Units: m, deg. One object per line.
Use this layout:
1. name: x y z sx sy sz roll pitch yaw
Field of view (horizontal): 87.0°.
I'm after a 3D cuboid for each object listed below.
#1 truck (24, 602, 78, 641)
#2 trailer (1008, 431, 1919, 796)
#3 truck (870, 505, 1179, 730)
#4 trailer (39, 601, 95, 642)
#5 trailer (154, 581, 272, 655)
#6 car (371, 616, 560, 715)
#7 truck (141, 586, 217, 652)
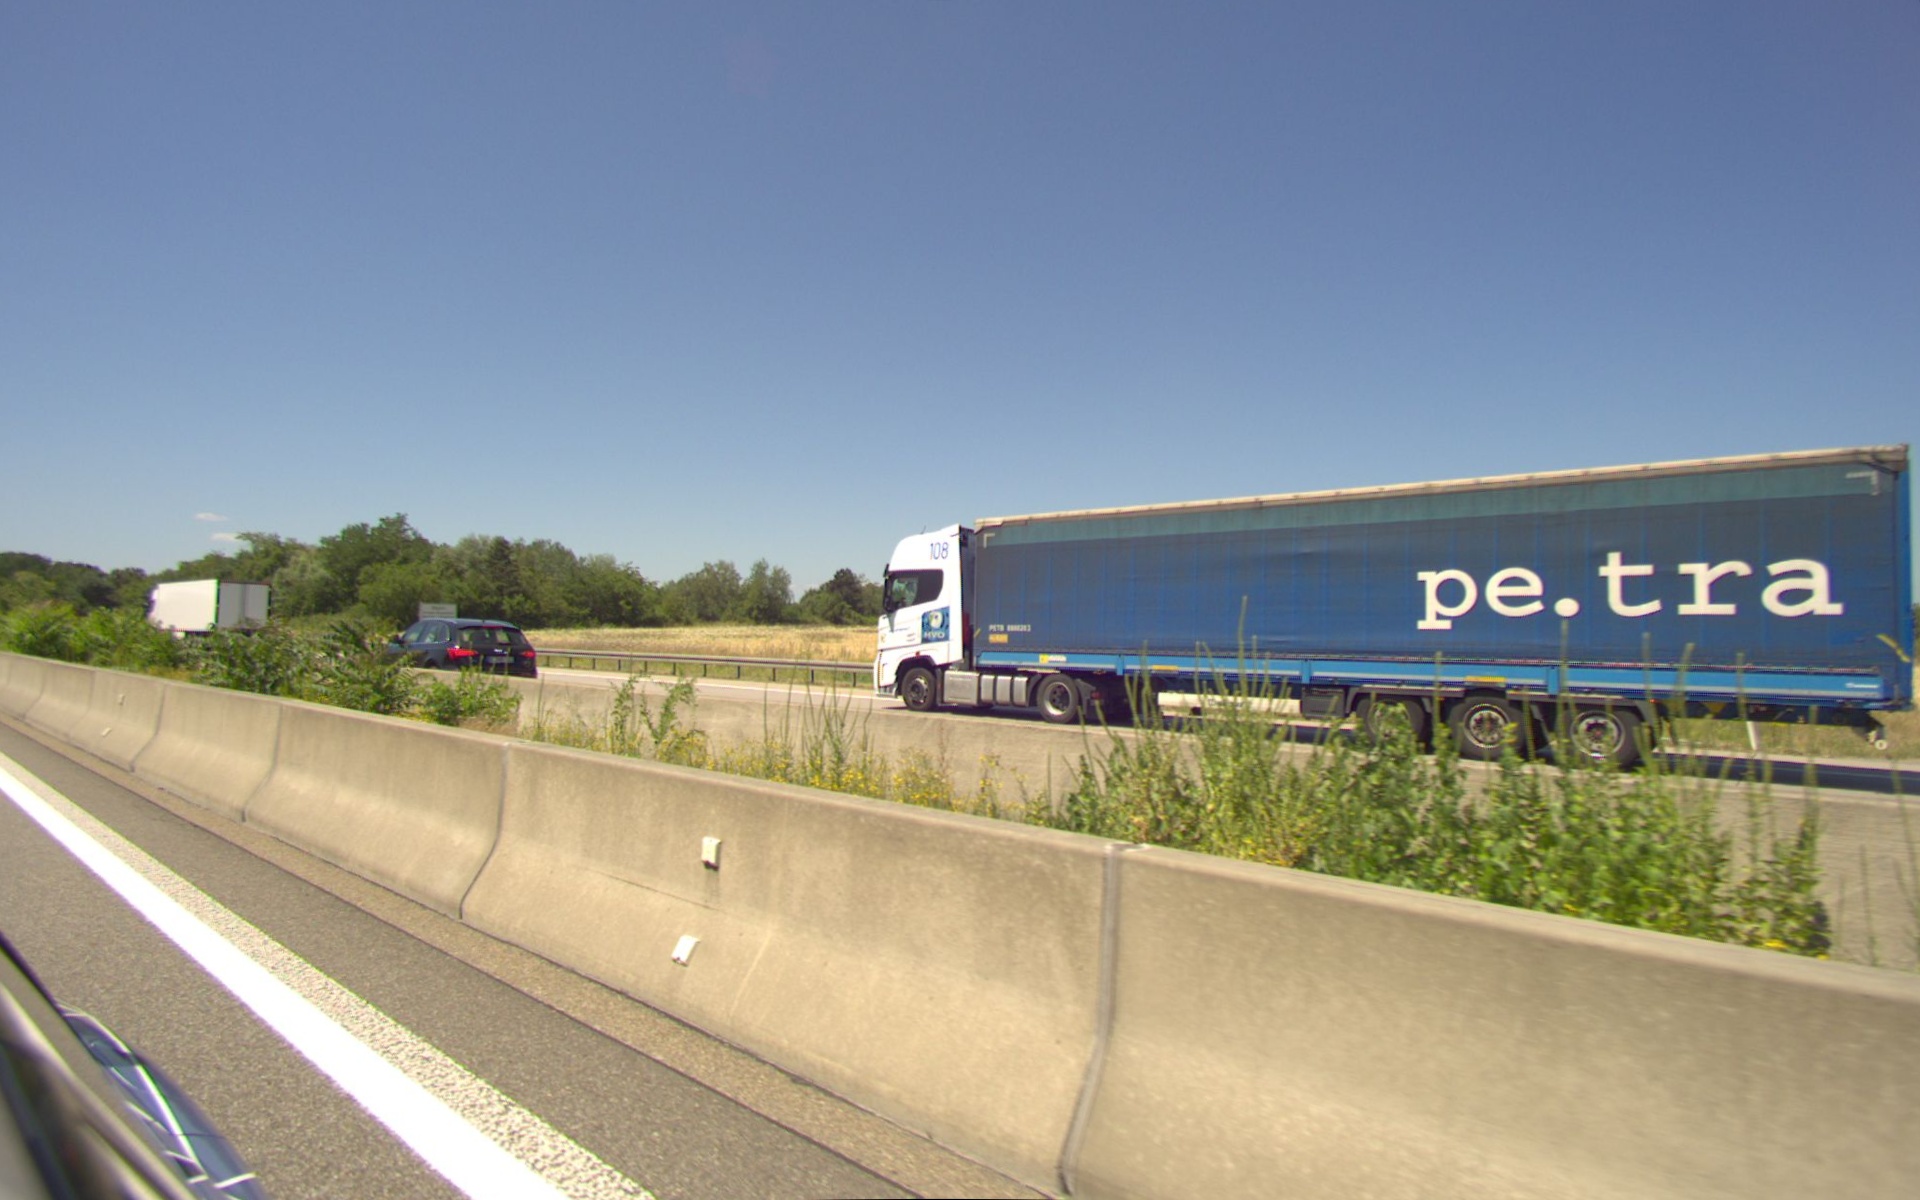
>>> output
1. truck: -90.858 2.196 101.072 10.183 3.689 2.625 -1 -4 41
2. trailer: 6.832 0.296 15.953 13.213 3.969 2.805 -1 -4 41
3. truck: 1.213 0.412 20.814 5.821 3.969 2.805 -1 -4 41
4. trailer: -83.790 2.052 94.913 8.531 3.689 2.625 -1 -4 41
5. trailer: -45.122 1.150 60.890 12.958 4.045 2.667 -1 -3 40
6. car: -9.833 1.238 20.016 4.120 1.751 1.888 -1 -3 41
7. truck: -50.681 1.261 65.622 5.751 4.045 2.653 -1 -3 40
